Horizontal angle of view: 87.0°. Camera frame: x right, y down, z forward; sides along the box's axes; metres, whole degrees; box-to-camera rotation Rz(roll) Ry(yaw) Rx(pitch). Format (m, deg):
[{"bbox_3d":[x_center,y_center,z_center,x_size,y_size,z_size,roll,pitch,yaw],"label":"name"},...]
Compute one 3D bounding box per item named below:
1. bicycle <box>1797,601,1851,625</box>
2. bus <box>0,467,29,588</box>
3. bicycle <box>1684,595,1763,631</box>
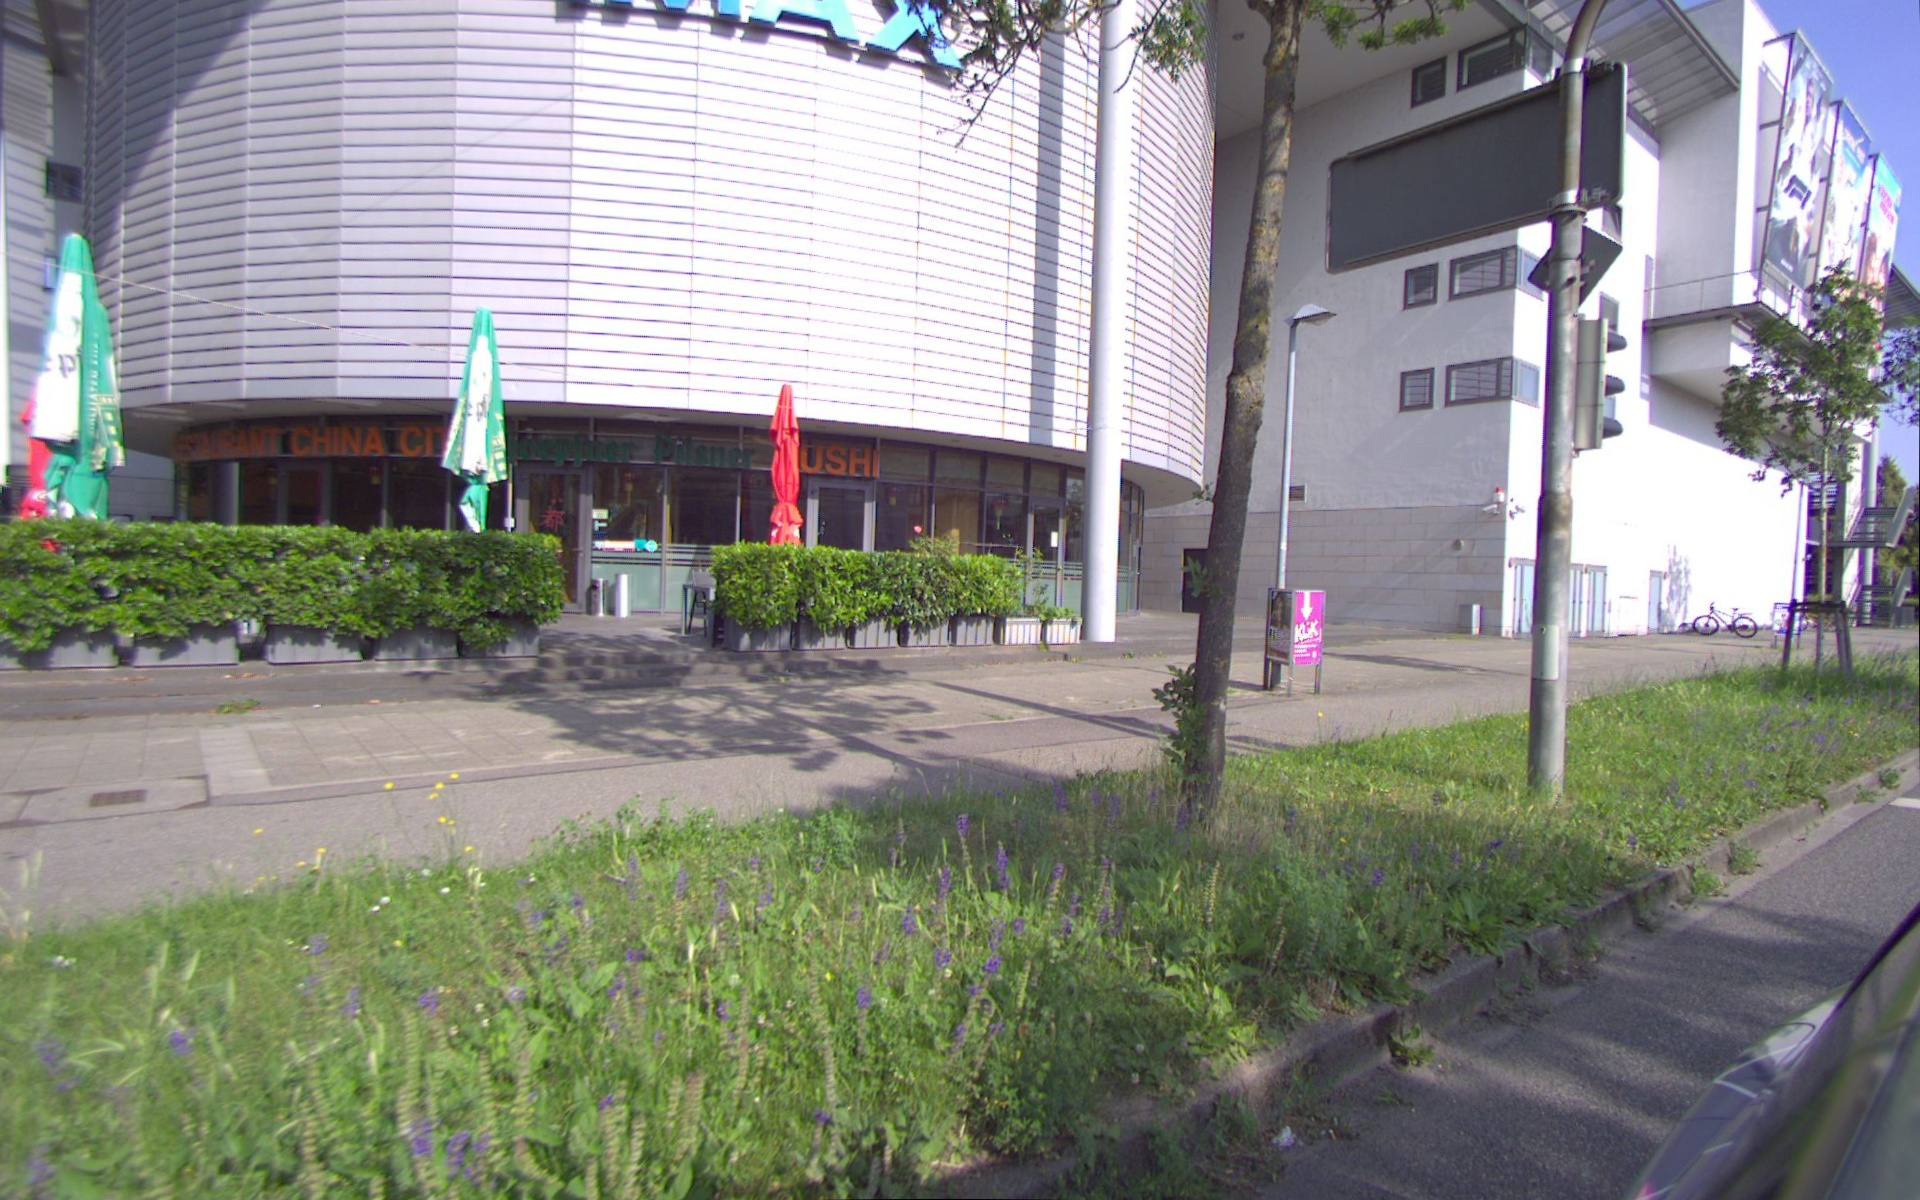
[{"bbox_3d":[36.933,0.542,43.269,0.474,0.926,1.662,1,2,-37],"label":"bicycle"},{"bbox_3d":[-28.634,-2.063,28.949,2.443,3.187,7.840,0,2,-39],"label":"bus"},{"bbox_3d":[25.824,0.432,34.266,0.662,1.116,2.016,1,1,-34],"label":"bicycle"}]
